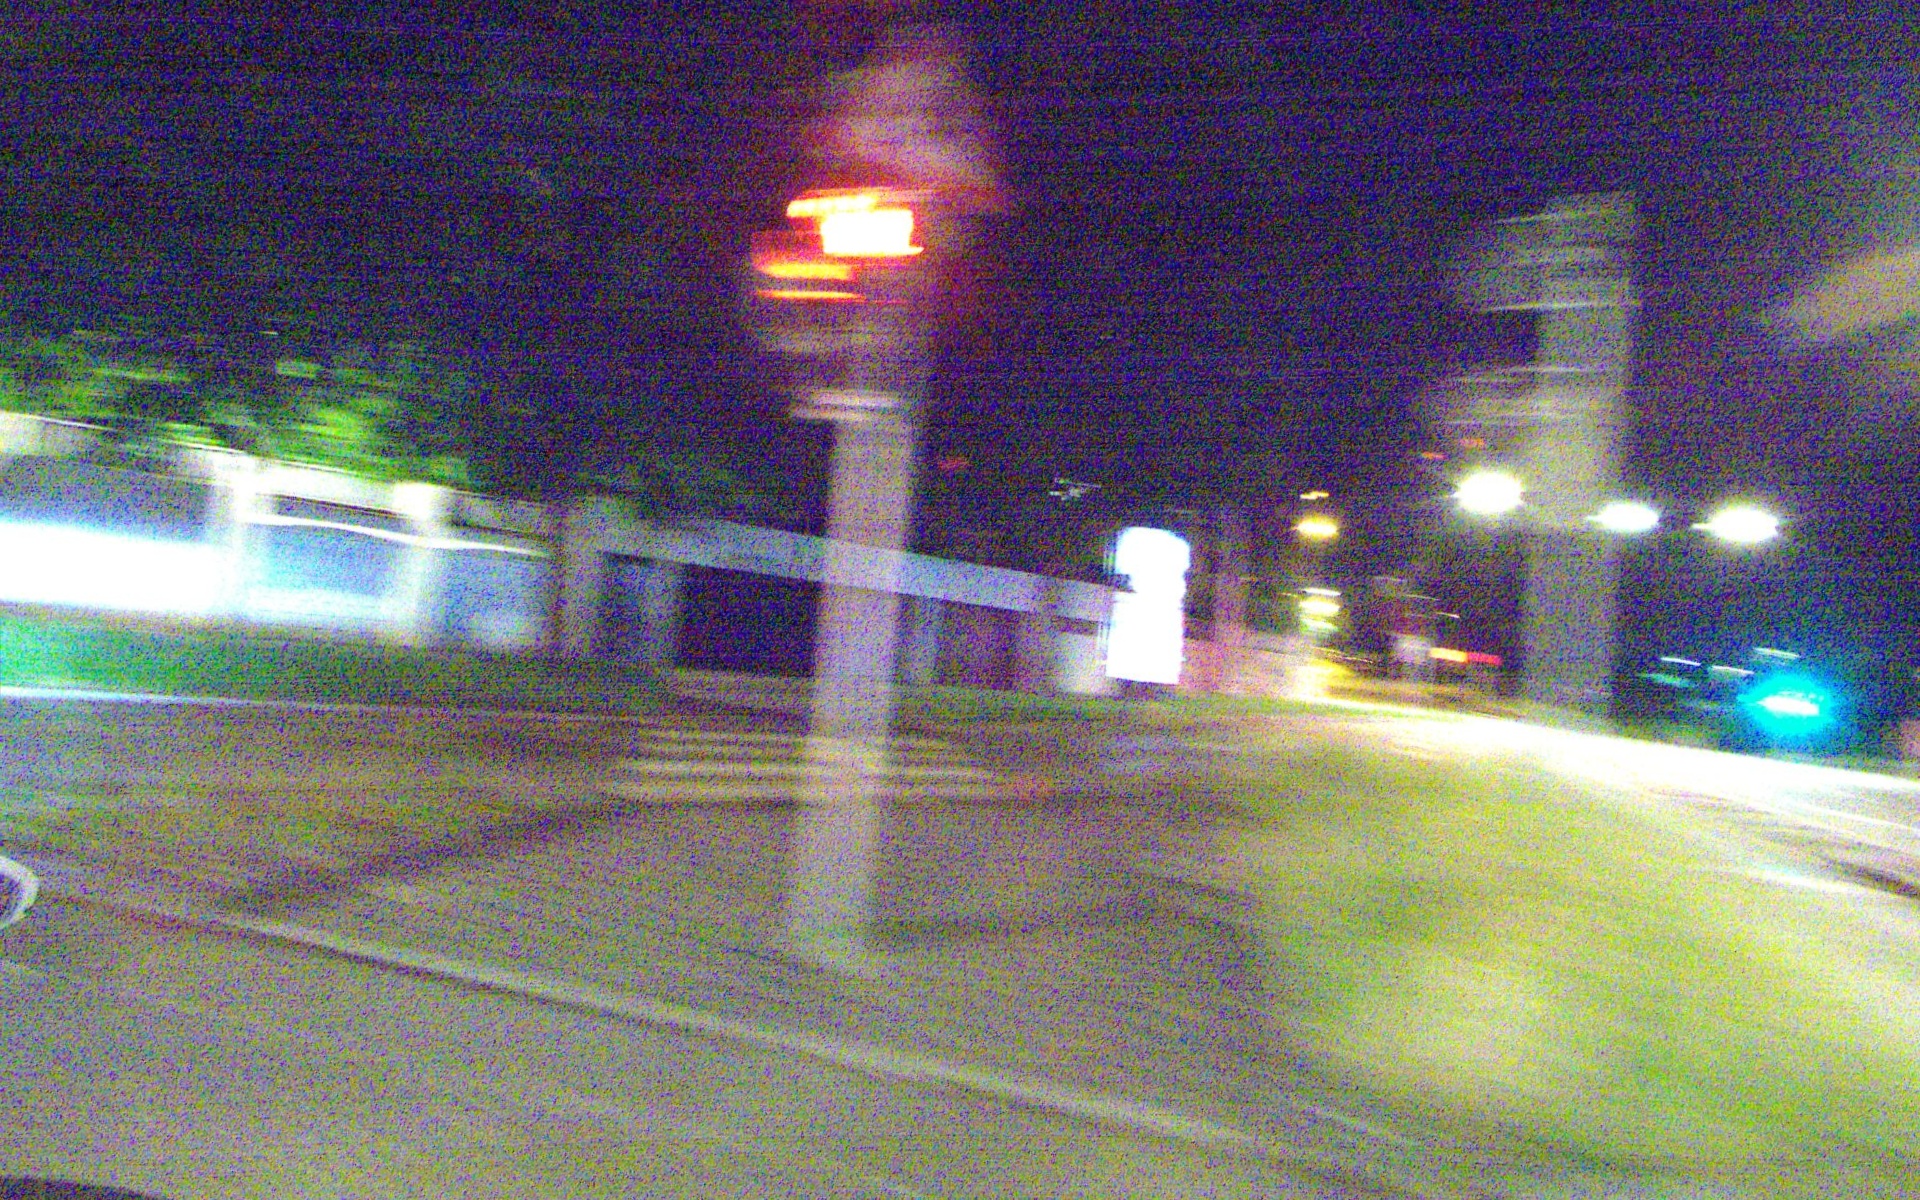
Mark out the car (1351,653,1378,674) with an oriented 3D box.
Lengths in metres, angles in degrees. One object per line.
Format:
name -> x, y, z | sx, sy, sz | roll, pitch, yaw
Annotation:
car -> 40.984, 6.427, 102.105 | 1.962, 1.791, 4.002 | 6, -1, 16
